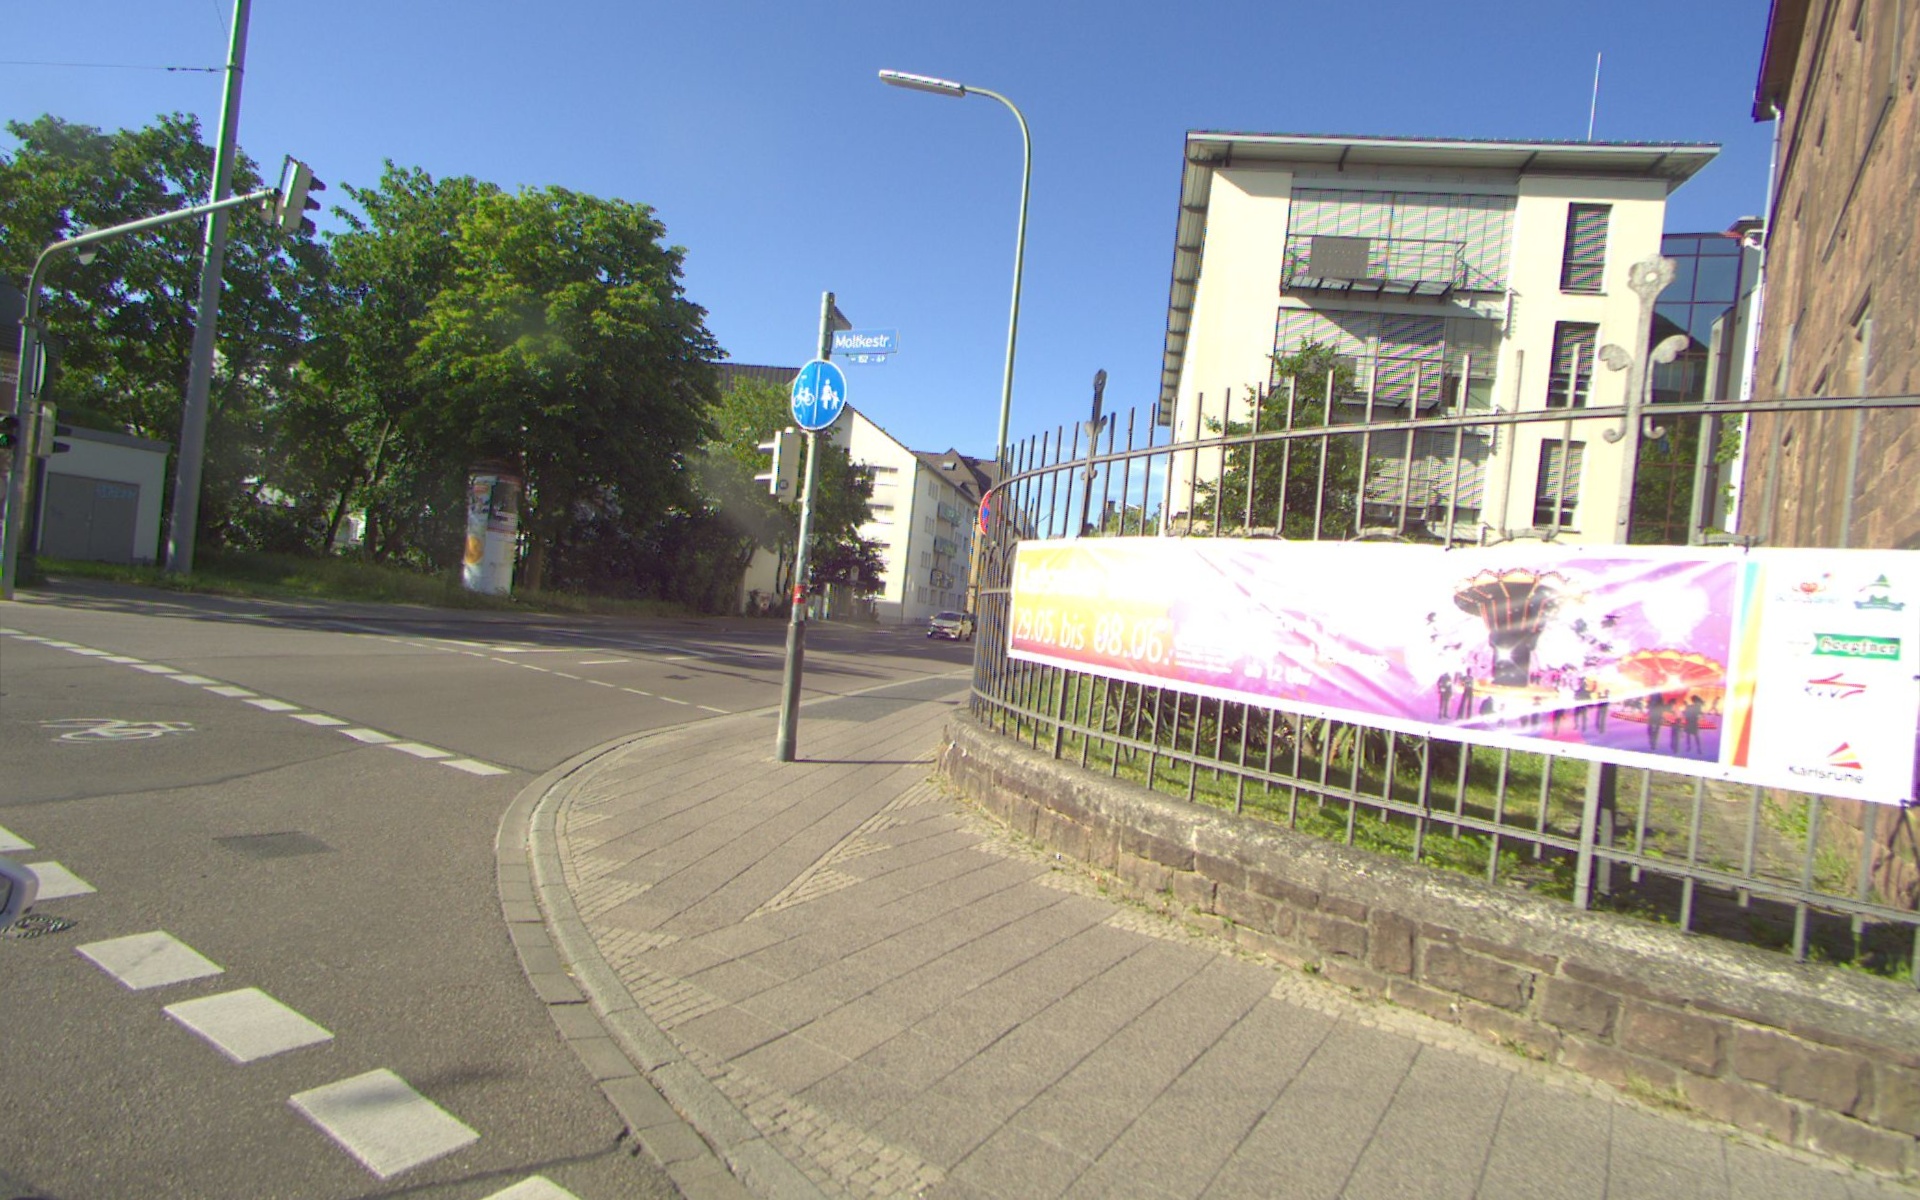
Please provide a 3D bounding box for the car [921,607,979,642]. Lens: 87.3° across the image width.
[{"bbox_3d":[-0.475,1.285,51.583,1.766,1.486,4.002,6,-1,16],"label":"car"}]
